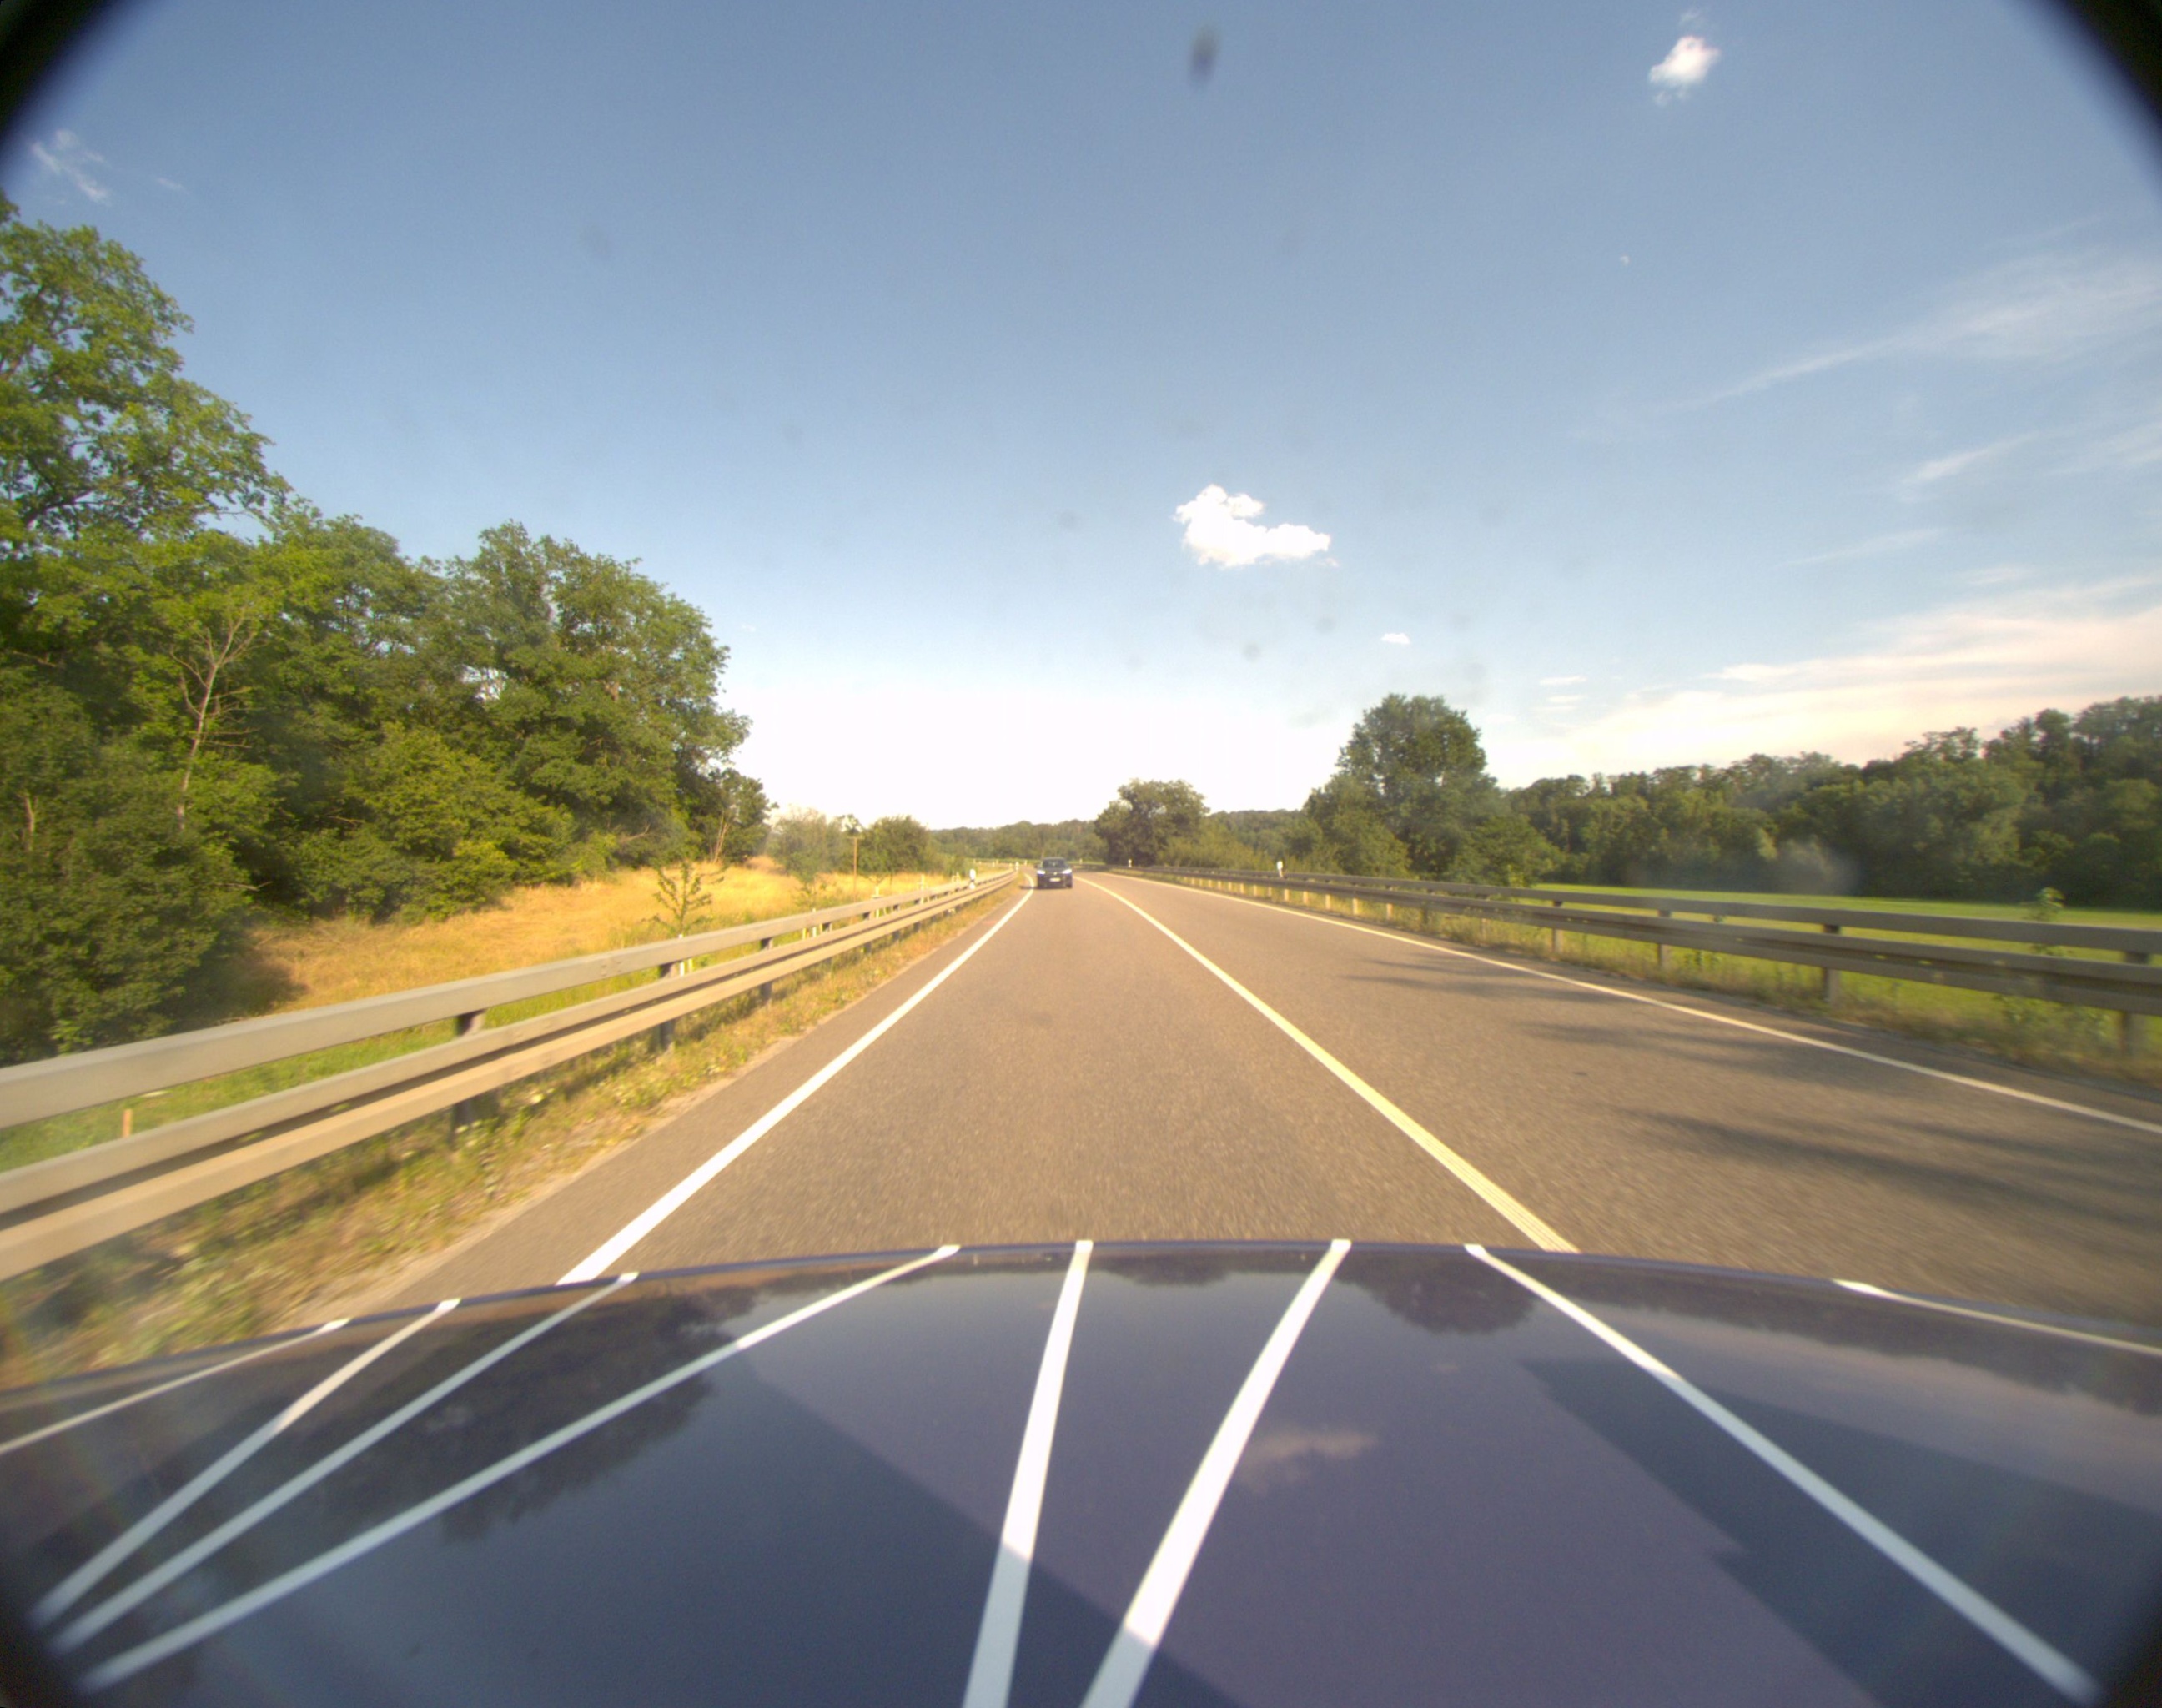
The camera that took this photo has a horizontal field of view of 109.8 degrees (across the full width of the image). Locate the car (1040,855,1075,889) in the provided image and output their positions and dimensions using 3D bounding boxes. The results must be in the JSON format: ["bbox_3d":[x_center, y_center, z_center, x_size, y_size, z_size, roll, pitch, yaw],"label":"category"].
[{"bbox_3d":[-1.293,0.895,40.502,1.751,1.645,4.305,-1,1,-3],"label":"car"}]
